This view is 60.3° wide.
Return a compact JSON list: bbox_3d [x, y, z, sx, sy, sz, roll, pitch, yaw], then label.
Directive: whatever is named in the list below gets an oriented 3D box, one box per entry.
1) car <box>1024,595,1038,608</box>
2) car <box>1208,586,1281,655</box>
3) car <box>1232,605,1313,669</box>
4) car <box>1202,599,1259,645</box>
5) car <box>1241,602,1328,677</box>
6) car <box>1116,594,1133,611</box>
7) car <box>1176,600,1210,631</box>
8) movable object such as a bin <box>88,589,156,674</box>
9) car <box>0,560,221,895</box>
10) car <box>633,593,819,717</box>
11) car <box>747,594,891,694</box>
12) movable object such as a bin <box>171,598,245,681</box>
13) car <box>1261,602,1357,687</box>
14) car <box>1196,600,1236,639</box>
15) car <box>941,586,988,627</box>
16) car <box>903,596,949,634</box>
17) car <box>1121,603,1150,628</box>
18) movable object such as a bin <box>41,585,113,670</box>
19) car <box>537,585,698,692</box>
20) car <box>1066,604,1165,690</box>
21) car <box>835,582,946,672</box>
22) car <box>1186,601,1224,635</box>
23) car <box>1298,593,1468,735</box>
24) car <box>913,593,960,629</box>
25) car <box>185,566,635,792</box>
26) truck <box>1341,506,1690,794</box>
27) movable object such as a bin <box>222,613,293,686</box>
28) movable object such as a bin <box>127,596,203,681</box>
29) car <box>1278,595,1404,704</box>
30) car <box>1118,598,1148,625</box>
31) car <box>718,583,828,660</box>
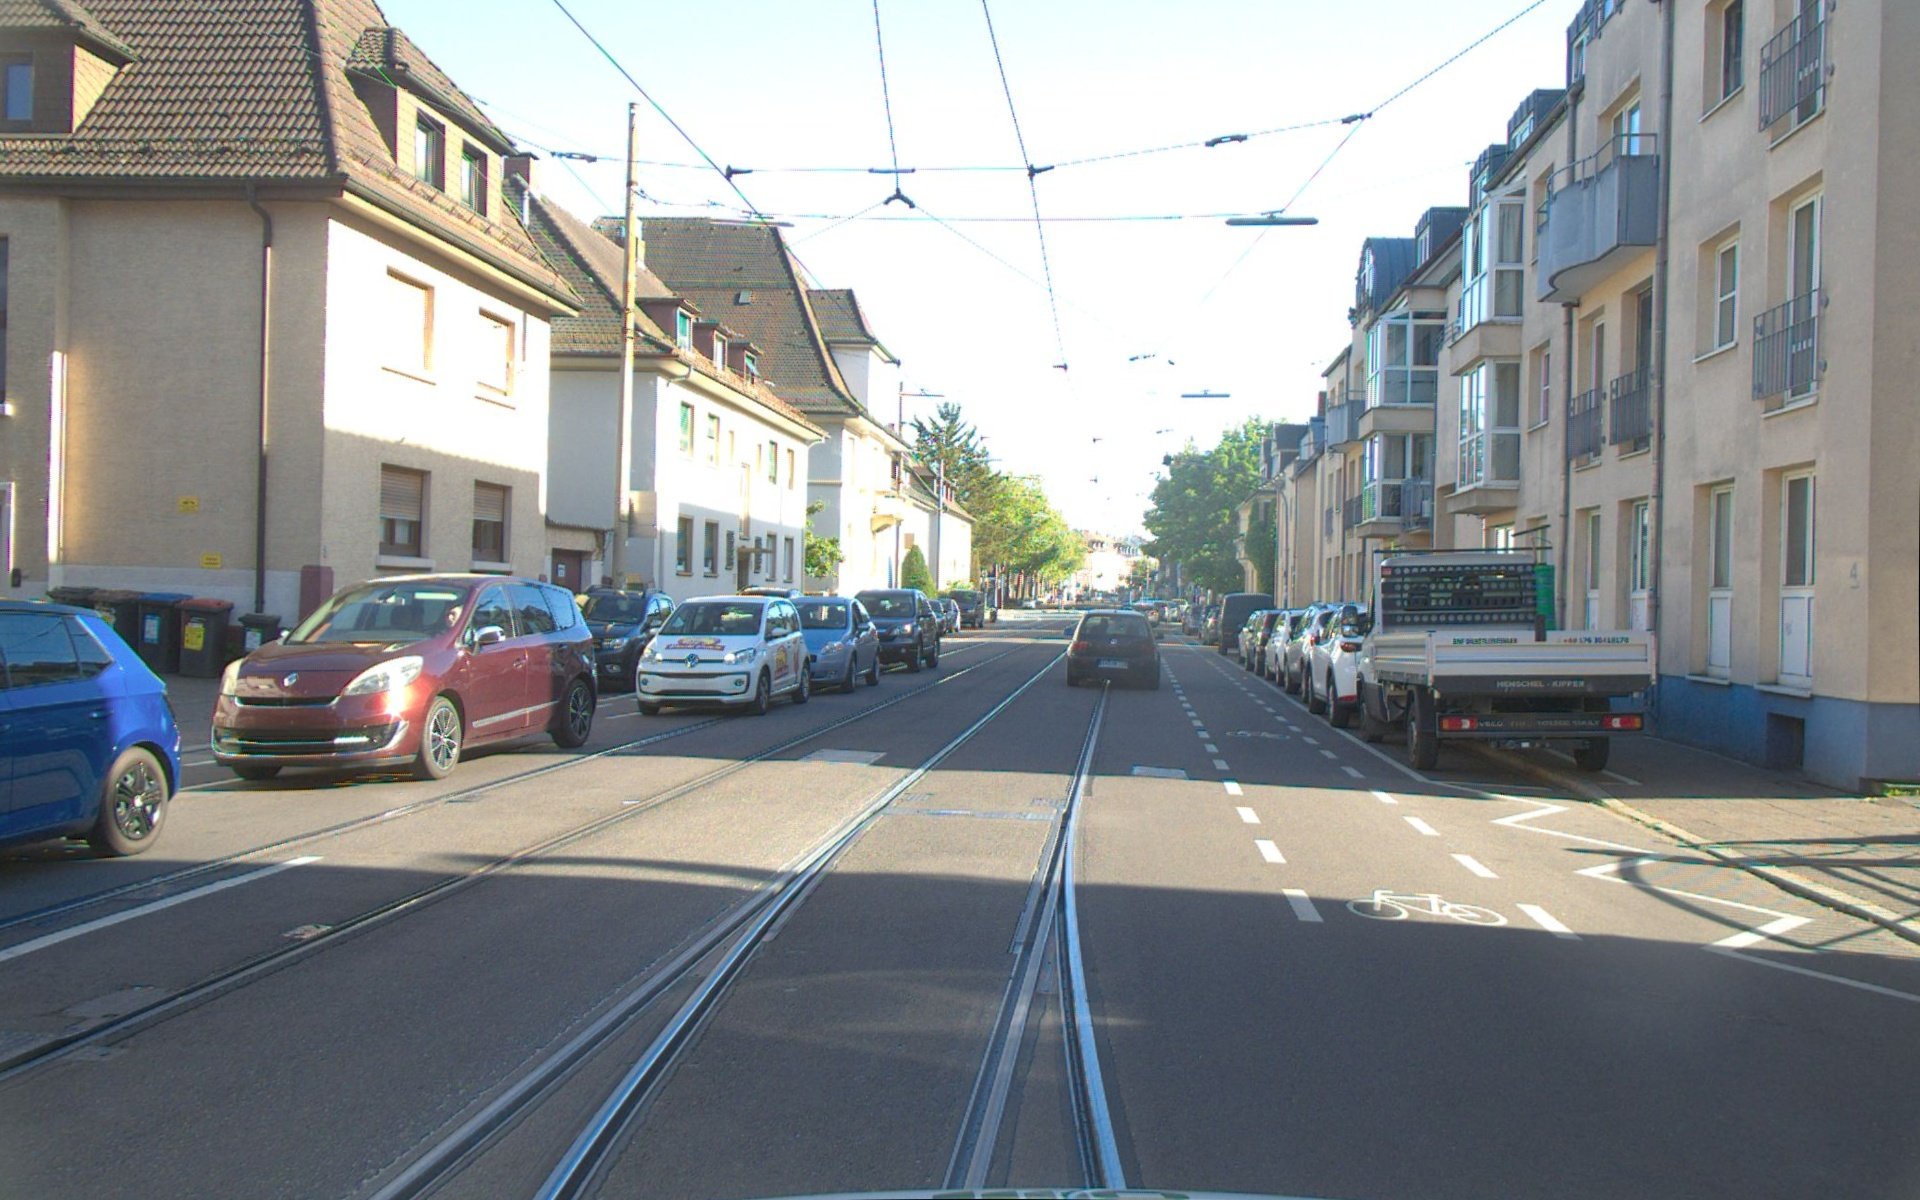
[{"bbox_3d":[8.377,0.166,196.044,1.543,1.503,3.441,0,0,0],"label":"car"},{"bbox_3d":[9.069,0.624,53.040,1.866,2.022,4.566,3,0,5],"label":"car"},{"bbox_3d":[8.290,0.944,44.115,1.642,1.517,4.175,3,0,5],"label":"car"},{"bbox_3d":[10.558,0.838,64.760,1.708,1.627,4.436,3,0,4],"label":"car"},{"bbox_3d":[7.503,0.876,38.466,1.521,1.584,3.654,3,0,5],"label":"car"},{"bbox_3d":[19.591,0.263,196.989,1.750,1.892,4.002,4,0,4],"label":"car"},{"bbox_3d":[12.880,0.837,91.555,1.630,1.591,3.773,3,0,6],"label":"car"},{"bbox_3d":[-11.733,0.435,23.174,0.557,1.131,0.591,4,0,5],"label":"movable object such as a bin"},{"bbox_3d":[-5.415,0.620,7.829,1.648,1.595,3.932,-1,0,8],"label":"car"},{"bbox_3d":[-2.983,0.666,21.759,1.549,1.486,3.616,0,0,7],"label":"car"},{"bbox_3d":[-2.192,0.657,26.696,1.583,1.486,4.078,0,0,6],"label":"car"},{"bbox_3d":[-10.450,0.541,22.998,0.602,1.098,0.673,4,0,5],"label":"movable object such as a bin"},{"bbox_3d":[7.159,0.878,34.158,1.465,1.584,3.367,3,0,5],"label":"car"},{"bbox_3d":[11.517,0.853,74.567,1.427,1.627,3.296,3,0,4],"label":"car"},{"bbox_3d":[0.280,0.320,89.605,1.865,2.049,4.952,3,0,7],"label":"car"},{"bbox_3d":[-1.400,0.606,69.130,1.628,1.503,4.252,1,0,2],"label":"car"},{"bbox_3d":[10.820,0.938,102.078,1.703,1.466,3.812,1,0,6],"label":"car"},{"bbox_3d":[-12.395,0.383,23.220,0.602,1.131,0.591,4,0,5],"label":"movable object such as a bin"},{"bbox_3d":[-5.628,0.605,27.620,1.581,1.656,3.924,0,0,5],"label":"car"},{"bbox_3d":[2.934,0.822,30.990,1.679,1.427,4.009,2,0,6],"label":"car"},{"bbox_3d":[-1.386,0.534,34.568,1.667,1.734,4.367,1,0,6],"label":"car"},{"bbox_3d":[12.334,0.892,83.312,1.568,1.552,3.551,3,0,4],"label":"car"},{"bbox_3d":[6.015,0.835,23.979,1.702,1.777,4.258,3,0,6],"label":"car"},{"bbox_3d":[-1.040,0.492,75.844,1.641,1.503,3.838,3,0,6],"label":"car"},{"bbox_3d":[-4.517,0.581,14.476,1.701,1.639,4.718,0,0,10],"label":"car"},{"bbox_3d":[5.663,0.427,17.859,2.247,2.520,6.150,1,0,6],"label":"truck"},{"bbox_3d":[-9.792,0.681,23.069,0.644,0.961,0.583,4,0,5],"label":"movable object such as a bin"},{"bbox_3d":[-11.103,0.531,23.122,0.628,1.131,0.673,4,0,5],"label":"movable object such as a bin"},{"bbox_3d":[6.722,0.812,29.498,1.569,1.729,3.992,3,0,5],"label":"car"},{"bbox_3d":[9.685,0.625,92.387,1.600,1.396,3.760,1,0,6],"label":"car"},{"bbox_3d":[-4.395,0.490,39.537,1.724,1.734,4.558,0,0,5],"label":"car"}]
